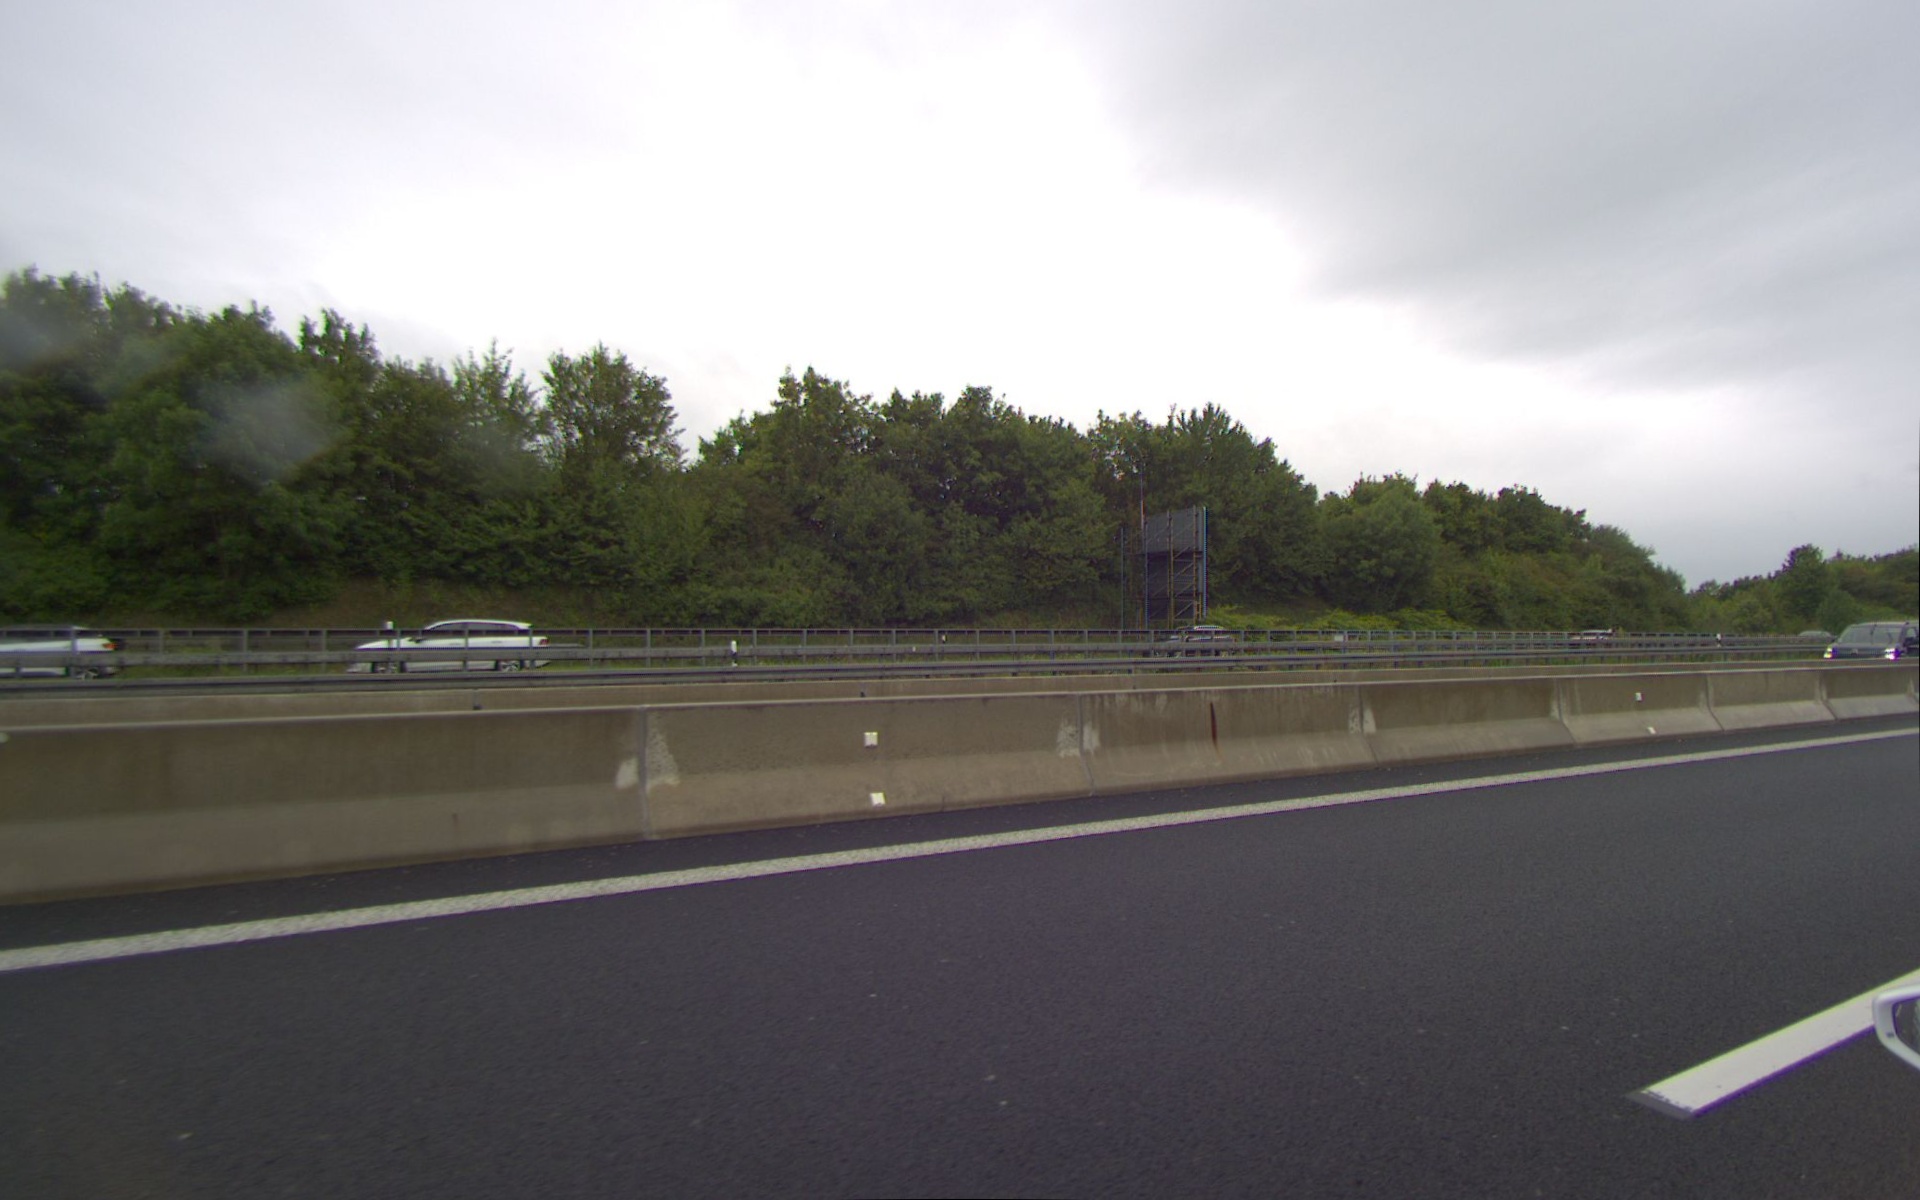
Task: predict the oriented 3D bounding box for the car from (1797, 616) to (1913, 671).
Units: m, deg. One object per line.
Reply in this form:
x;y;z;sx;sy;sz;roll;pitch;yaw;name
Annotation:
35.524;1.706;39.847;4.924;2.040;1.984;2;0;-30;car

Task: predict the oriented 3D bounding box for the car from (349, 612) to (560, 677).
-12.591;1.102;25.184;4.579;1.475;1.668;2;0;-30;car

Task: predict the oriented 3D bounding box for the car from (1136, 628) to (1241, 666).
9.926;2.019;43.546;4.425;1.513;1.809;2;0;-32;car

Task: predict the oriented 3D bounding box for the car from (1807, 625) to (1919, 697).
28.751;1.864;31.371;4.924;2.040;1.984;2;0;-30;car

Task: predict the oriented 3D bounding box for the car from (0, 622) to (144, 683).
-23.924;1.352;26.115;3.953;1.475;1.668;2;0;-30;car
